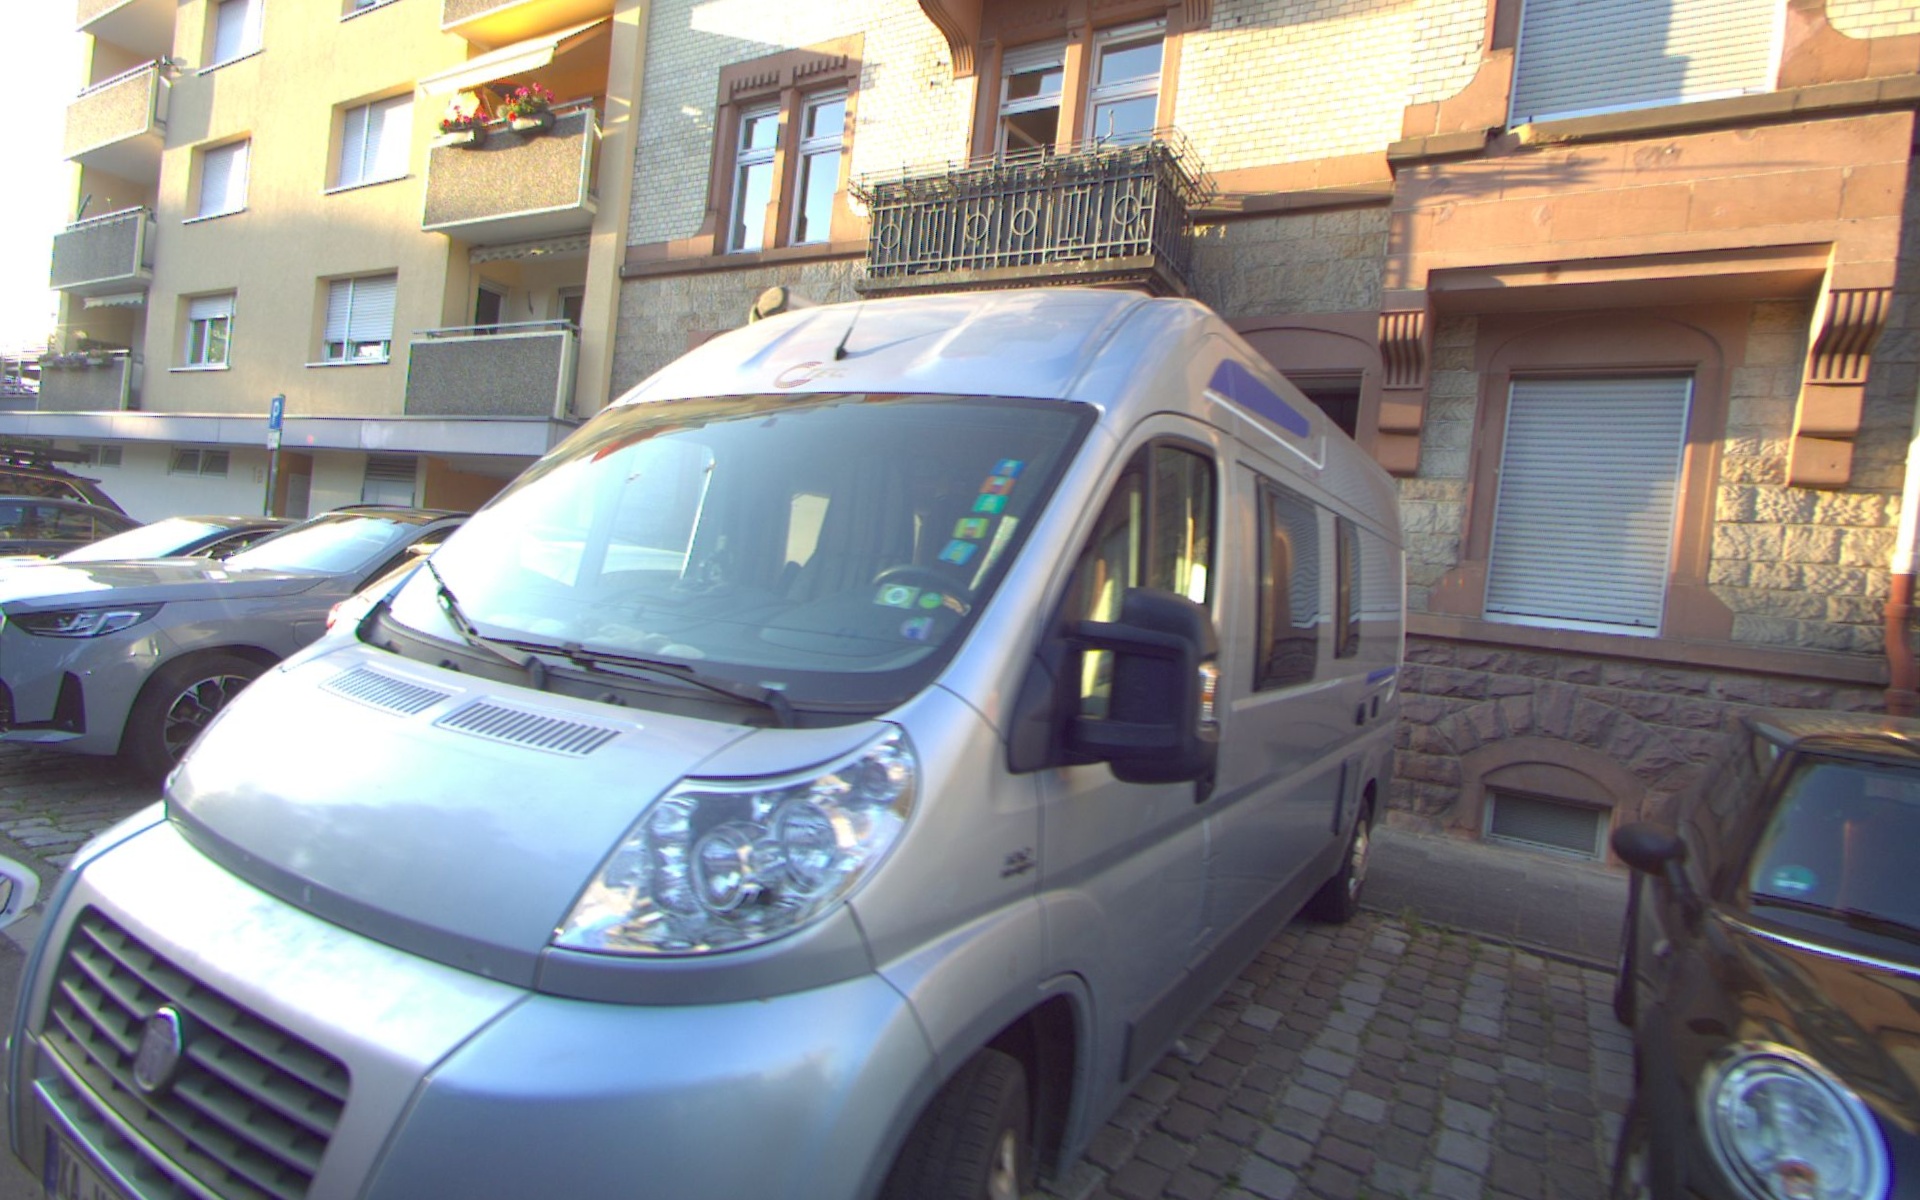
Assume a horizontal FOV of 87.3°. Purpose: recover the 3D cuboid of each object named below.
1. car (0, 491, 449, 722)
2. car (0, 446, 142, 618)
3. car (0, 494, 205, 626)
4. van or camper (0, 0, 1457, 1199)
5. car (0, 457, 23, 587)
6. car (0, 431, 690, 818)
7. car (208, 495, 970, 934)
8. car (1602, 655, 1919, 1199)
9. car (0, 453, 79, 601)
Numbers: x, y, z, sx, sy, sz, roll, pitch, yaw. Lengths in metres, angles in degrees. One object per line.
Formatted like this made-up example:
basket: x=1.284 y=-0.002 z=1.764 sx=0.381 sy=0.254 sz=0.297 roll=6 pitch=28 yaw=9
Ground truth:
car: x=-6.475 y=-0.011 z=7.944 sx=1.803 sy=1.473 sz=3.991 roll=7 pitch=2 yaw=27
car: x=-13.928 y=-1.106 z=12.978 sx=1.966 sy=2.171 sz=4.715 roll=7 pitch=-1 yaw=30
car: x=-11.673 y=-0.549 z=11.710 sx=1.690 sy=1.444 sz=4.240 roll=7 pitch=1 yaw=30
van or camper: x=0.434 y=-0.132 z=3.943 sx=2.074 sy=2.802 sz=5.940 roll=7 pitch=-1 yaw=30
car: x=-18.149 y=-1.596 z=15.662 sx=1.966 sy=2.171 sz=4.715 roll=7 pitch=-1 yaw=30
car: x=-4.094 y=0.119 z=6.931 sx=1.741 sy=1.750 sz=4.443 roll=7 pitch=1 yaw=25
car: x=-1.714 y=0.502 z=6.307 sx=1.741 sy=1.616 sz=4.443 roll=7 pitch=1 yaw=25
car: x=2.894 y=1.021 z=2.772 sx=1.758 sy=1.505 sz=3.935 roll=5 pitch=1 yaw=32
car: x=-16.120 y=-1.358 z=14.428 sx=1.966 sy=2.171 sz=4.715 roll=7 pitch=-1 yaw=30
